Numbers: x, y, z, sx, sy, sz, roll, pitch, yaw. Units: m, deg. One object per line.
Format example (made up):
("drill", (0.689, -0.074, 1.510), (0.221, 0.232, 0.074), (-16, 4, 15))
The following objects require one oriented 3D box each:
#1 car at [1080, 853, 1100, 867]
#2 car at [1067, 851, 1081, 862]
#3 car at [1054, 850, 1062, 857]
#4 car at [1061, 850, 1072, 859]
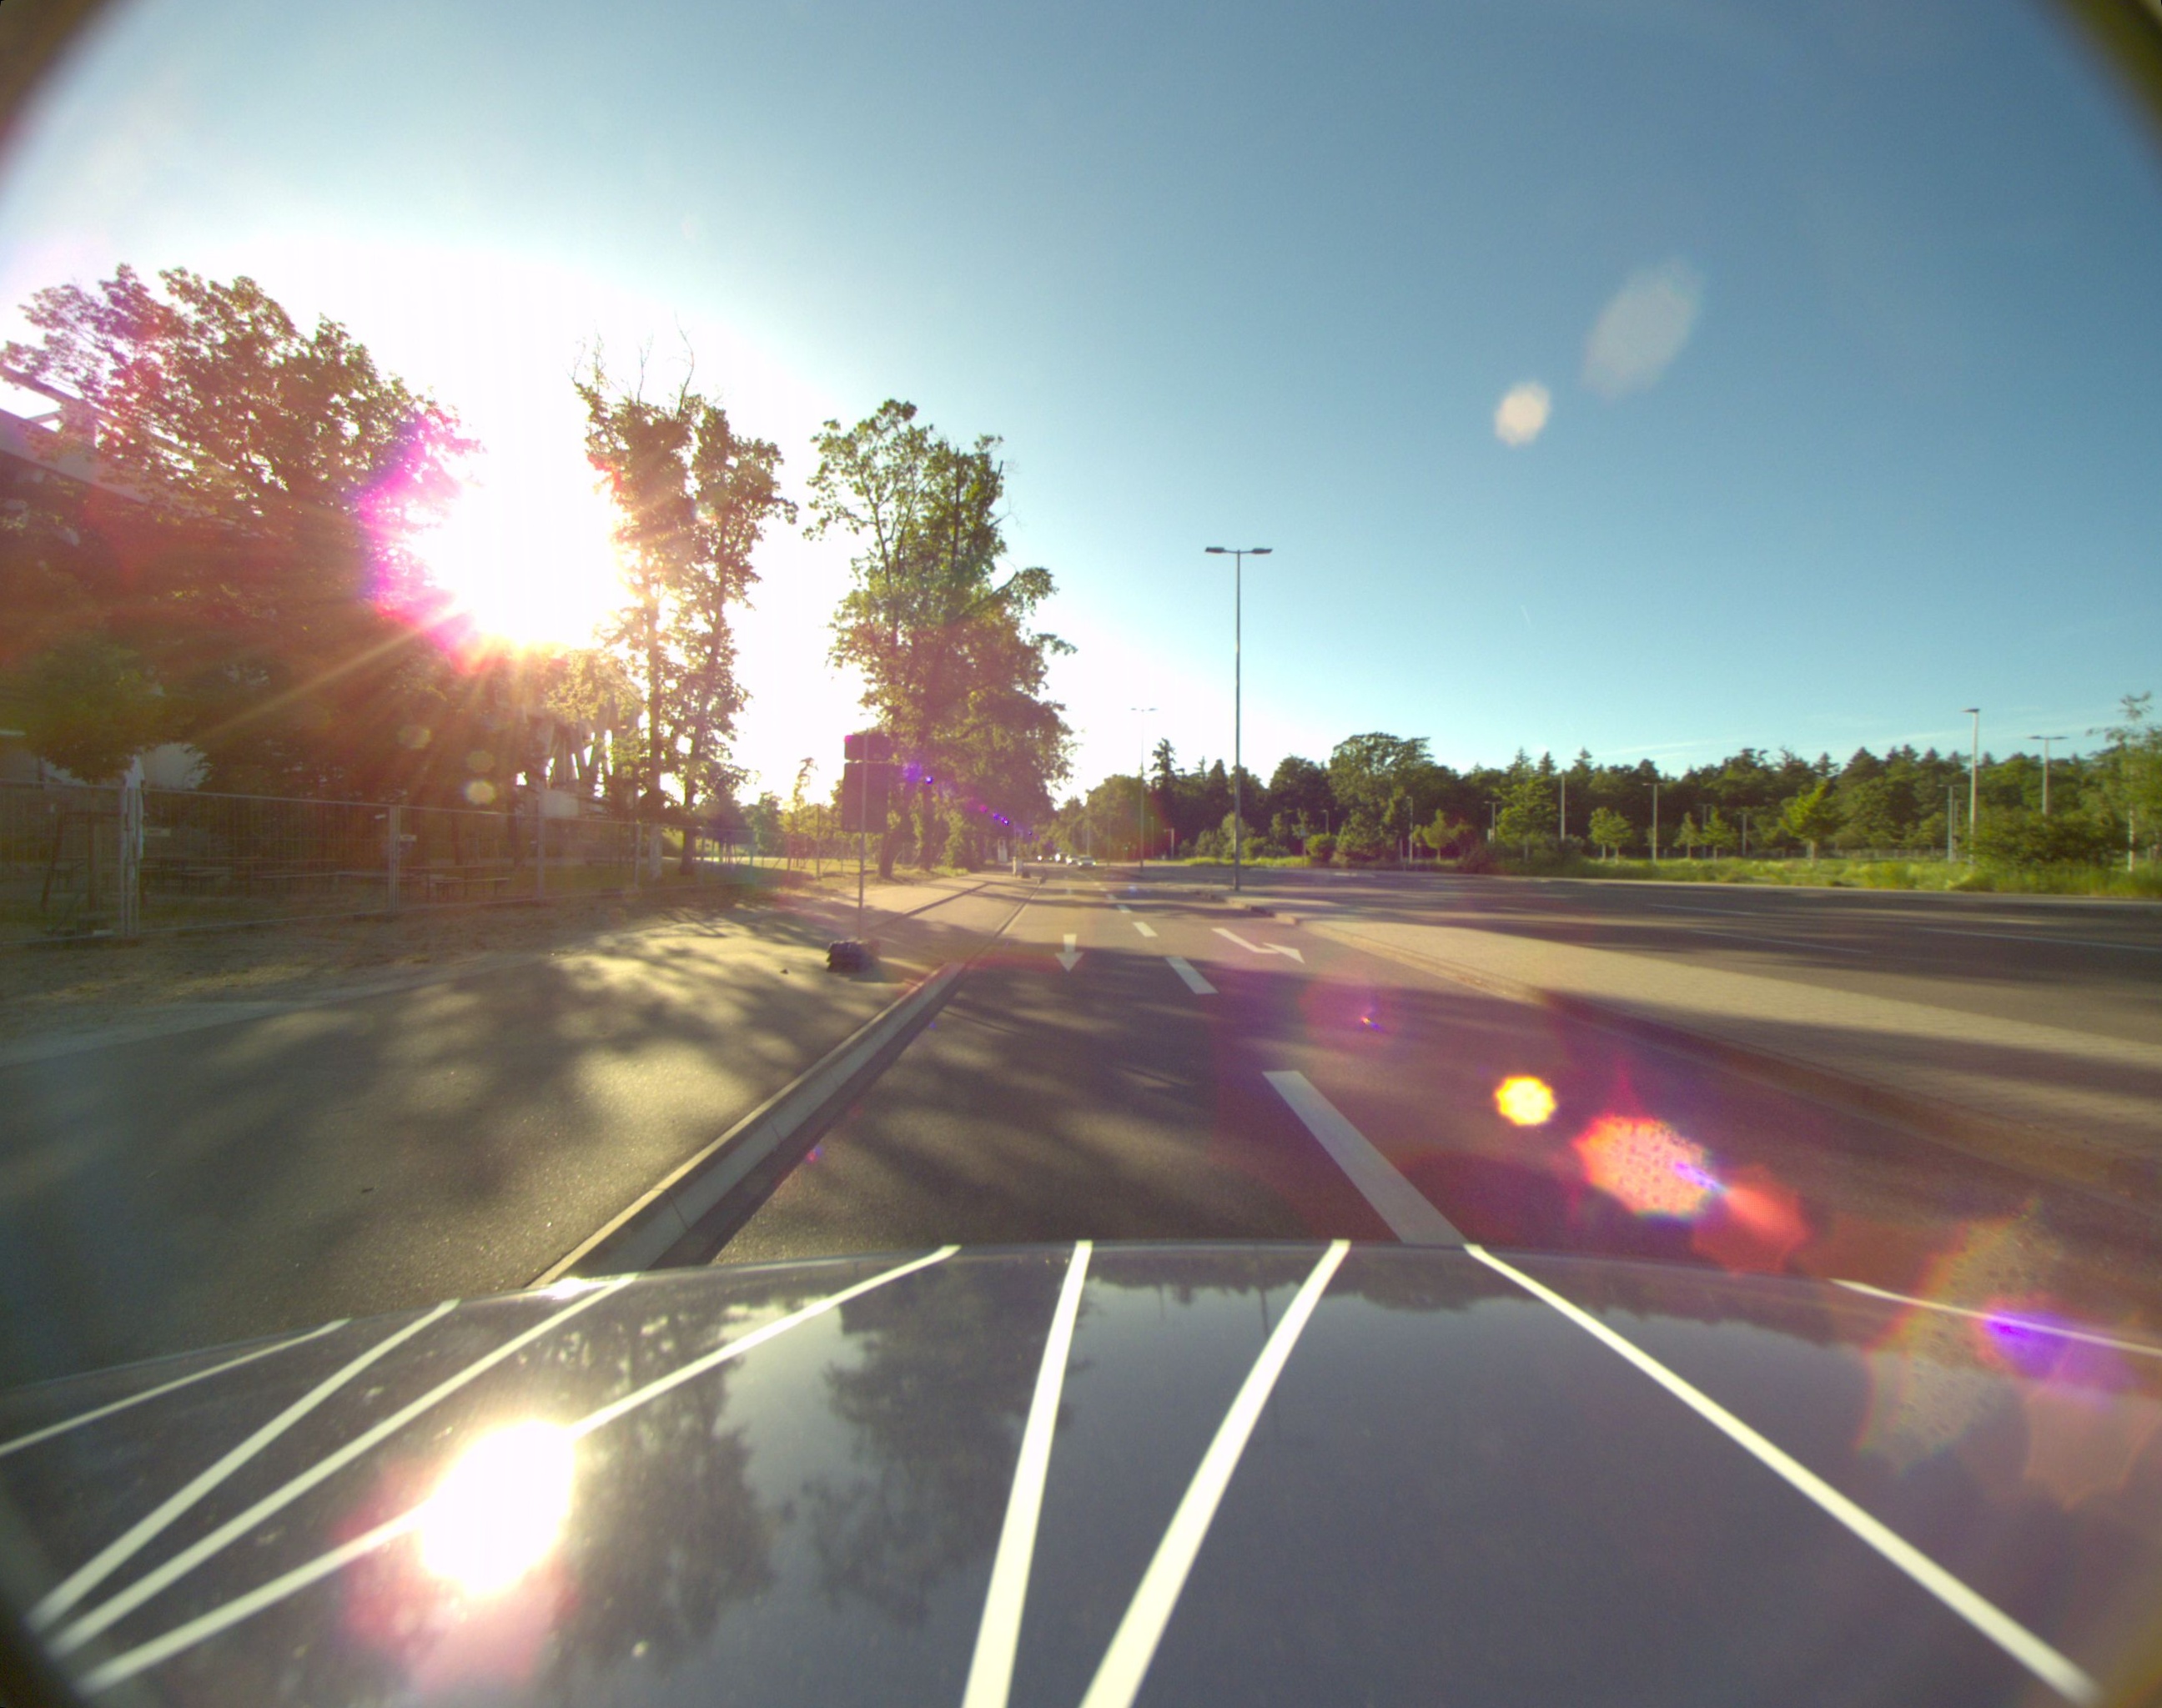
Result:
("car", (0.919, 0.568, 80.014), (1.841, 1.395, 3.999), (-1, 0, -2))
("car", (-0.980, 0.363, 104.822), (1.841, 1.395, 4.990), (-1, 0, -2))
("car", (-5.060, -0.167, 166.599), (1.841, 1.395, 4.990), (-1, 0, -2))
("car", (-2.596, 0.071, 132.587), (1.841, 1.395, 4.990), (-1, 0, -2))
